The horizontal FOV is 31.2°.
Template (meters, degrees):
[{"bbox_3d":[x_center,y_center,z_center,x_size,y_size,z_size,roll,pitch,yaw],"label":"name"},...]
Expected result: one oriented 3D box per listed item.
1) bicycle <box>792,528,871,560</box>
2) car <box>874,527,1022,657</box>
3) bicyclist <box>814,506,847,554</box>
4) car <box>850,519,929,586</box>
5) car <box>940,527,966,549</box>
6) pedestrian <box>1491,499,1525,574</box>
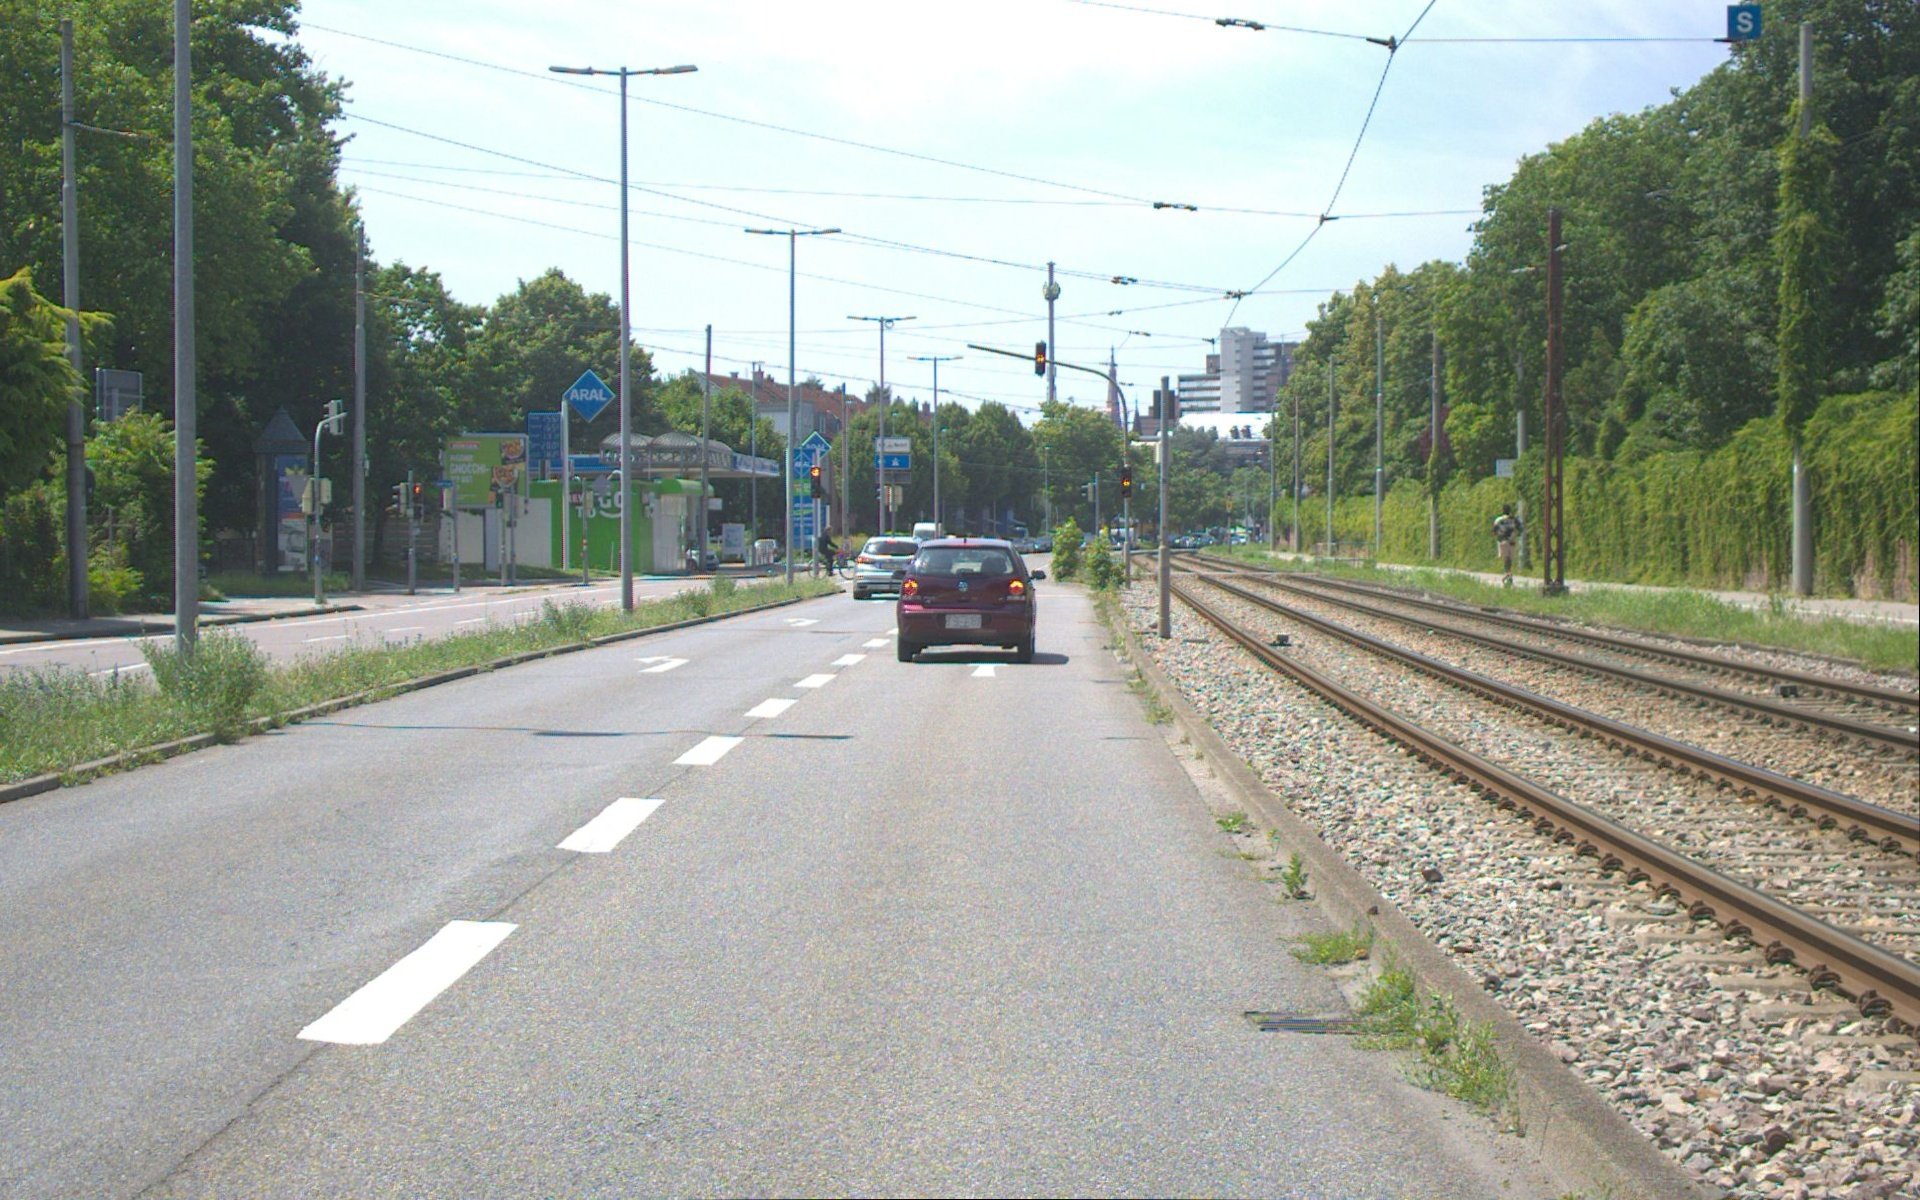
[{"bbox_3d":[-4.395,-1.904,117.645,2.549,1.034,1.088,1,0,-12],"label":"bicycle"},{"bbox_3d":[-0.124,-0.132,41.870,1.703,1.472,3.716,1,1,0],"label":"car"},{"bbox_3d":[-4.439,-2.393,117.660,0.944,1.588,1.088,1,0,-12],"label":"bicyclist"},{"bbox_3d":[-1.674,-1.101,80.123,1.702,1.475,3.717,1,1,-3],"label":"car"},{"bbox_3d":[-0.532,-4.714,261.446,1.748,1.680,4.000,0,1,4],"label":"car"},{"bbox_3d":[12.667,-1.461,79.430,0.661,1.720,0.816,-1,1,1],"label":"pedestrian"}]
